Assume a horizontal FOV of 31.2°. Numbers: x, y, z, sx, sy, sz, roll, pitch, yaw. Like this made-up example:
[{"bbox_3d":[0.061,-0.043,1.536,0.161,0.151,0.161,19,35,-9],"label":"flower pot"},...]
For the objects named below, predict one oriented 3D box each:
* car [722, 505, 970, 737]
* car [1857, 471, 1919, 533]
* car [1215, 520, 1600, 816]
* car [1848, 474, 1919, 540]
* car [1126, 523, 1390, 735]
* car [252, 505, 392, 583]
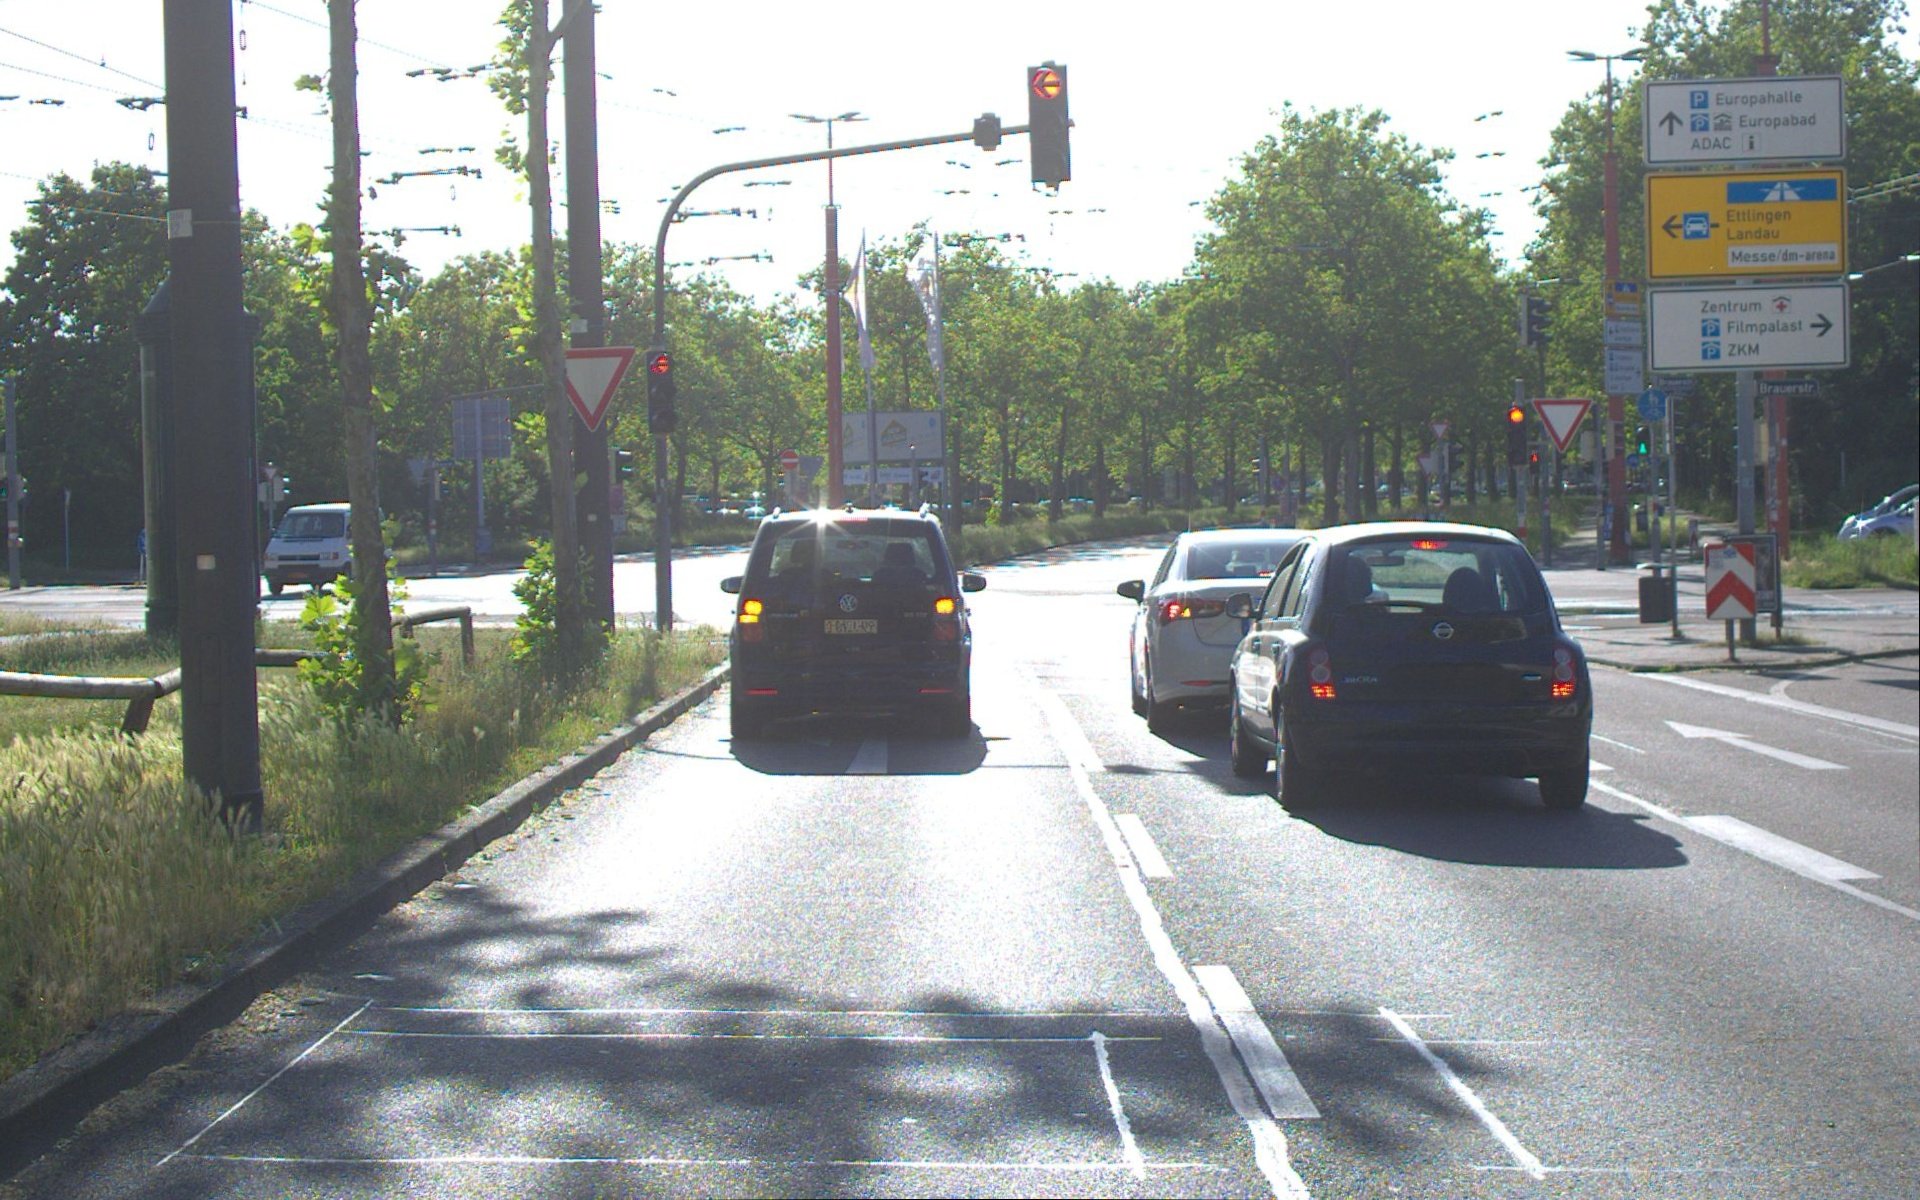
[{"bbox_3d":[-0.829,0.118,25.535,1.710,1.598,3.350,0,1,-1],"label":"car"},{"bbox_3d":[21.740,-2.136,74.930,3.992,1.333,1.727,0,1,26],"label":"car"},{"bbox_3d":[2.438,0.311,19.485,1.638,1.489,3.504,0,2,-1],"label":"car"},{"bbox_3d":[22.387,-2.107,78.163,3.992,1.471,1.787,0,1,25],"label":"car"},{"bbox_3d":[2.174,0.166,26.035,1.678,1.470,4.131,0,1,1],"label":"car"},{"bbox_3d":[-14.785,-1.308,79.876,1.823,1.774,4.566,0,1,8],"label":"car"}]
